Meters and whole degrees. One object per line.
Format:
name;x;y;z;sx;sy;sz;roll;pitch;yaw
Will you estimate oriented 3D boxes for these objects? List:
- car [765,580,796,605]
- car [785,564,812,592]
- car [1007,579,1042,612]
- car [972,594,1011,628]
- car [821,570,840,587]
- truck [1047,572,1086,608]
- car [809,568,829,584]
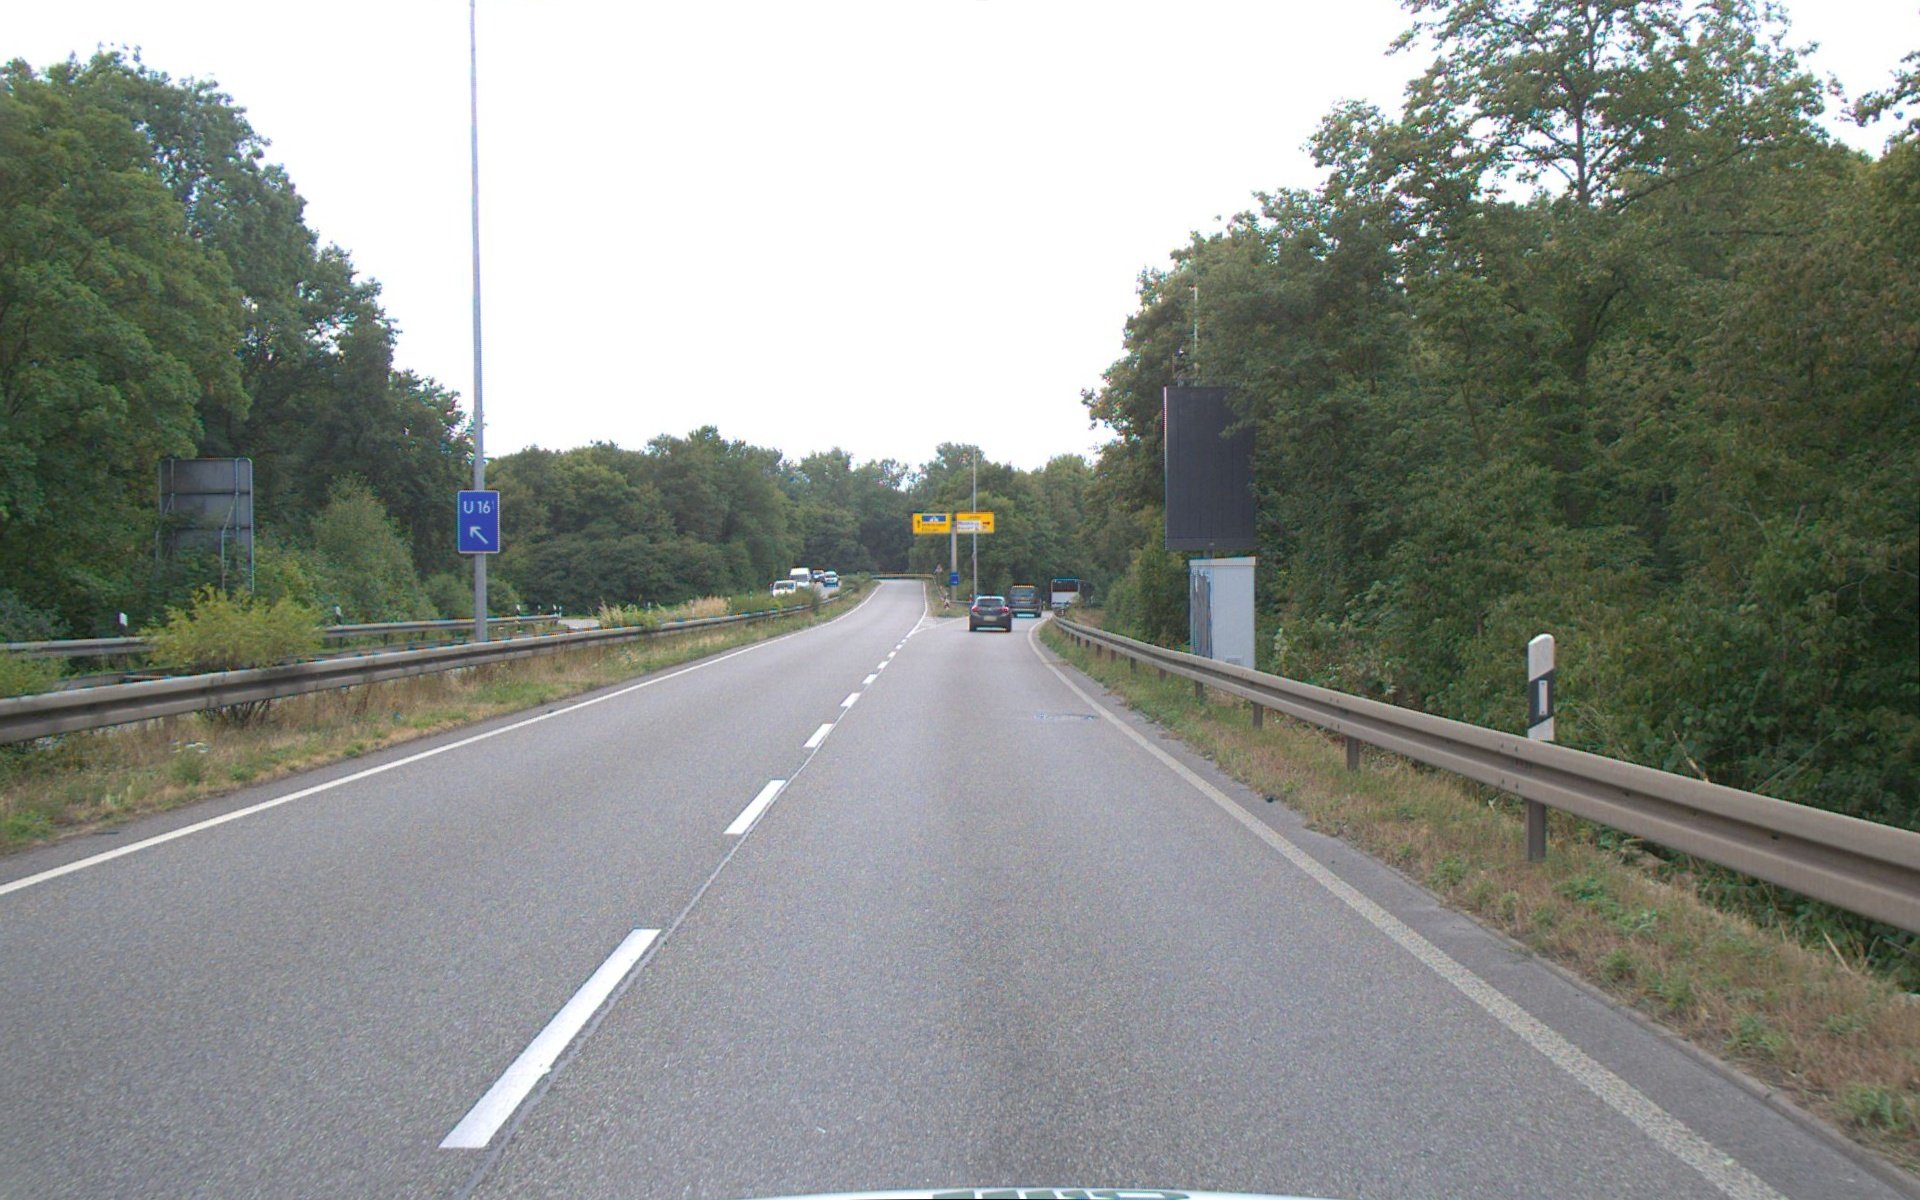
car;-13.913;-0.579;128.418;1.953;1.879;4.000;0;2;0
car;-15.478;-2.124;158.836;2.075;2.637;5.040;0;1;0
car;4.130;-0.258;105.547;2.103;2.049;4.001;0;-1;3
car;1.325;0.496;70.376;1.592;1.402;3.999;0;-1;0
car;-15.445;-2.566;197.336;1.953;2.049;4.000;0;1;0
truck;9.297;-0.851;143.999;2.917;2.935;7.996;0;-1;7
car;-20.009;-3.392;234.937;1.964;2.049;3.977;0;-1;-20
